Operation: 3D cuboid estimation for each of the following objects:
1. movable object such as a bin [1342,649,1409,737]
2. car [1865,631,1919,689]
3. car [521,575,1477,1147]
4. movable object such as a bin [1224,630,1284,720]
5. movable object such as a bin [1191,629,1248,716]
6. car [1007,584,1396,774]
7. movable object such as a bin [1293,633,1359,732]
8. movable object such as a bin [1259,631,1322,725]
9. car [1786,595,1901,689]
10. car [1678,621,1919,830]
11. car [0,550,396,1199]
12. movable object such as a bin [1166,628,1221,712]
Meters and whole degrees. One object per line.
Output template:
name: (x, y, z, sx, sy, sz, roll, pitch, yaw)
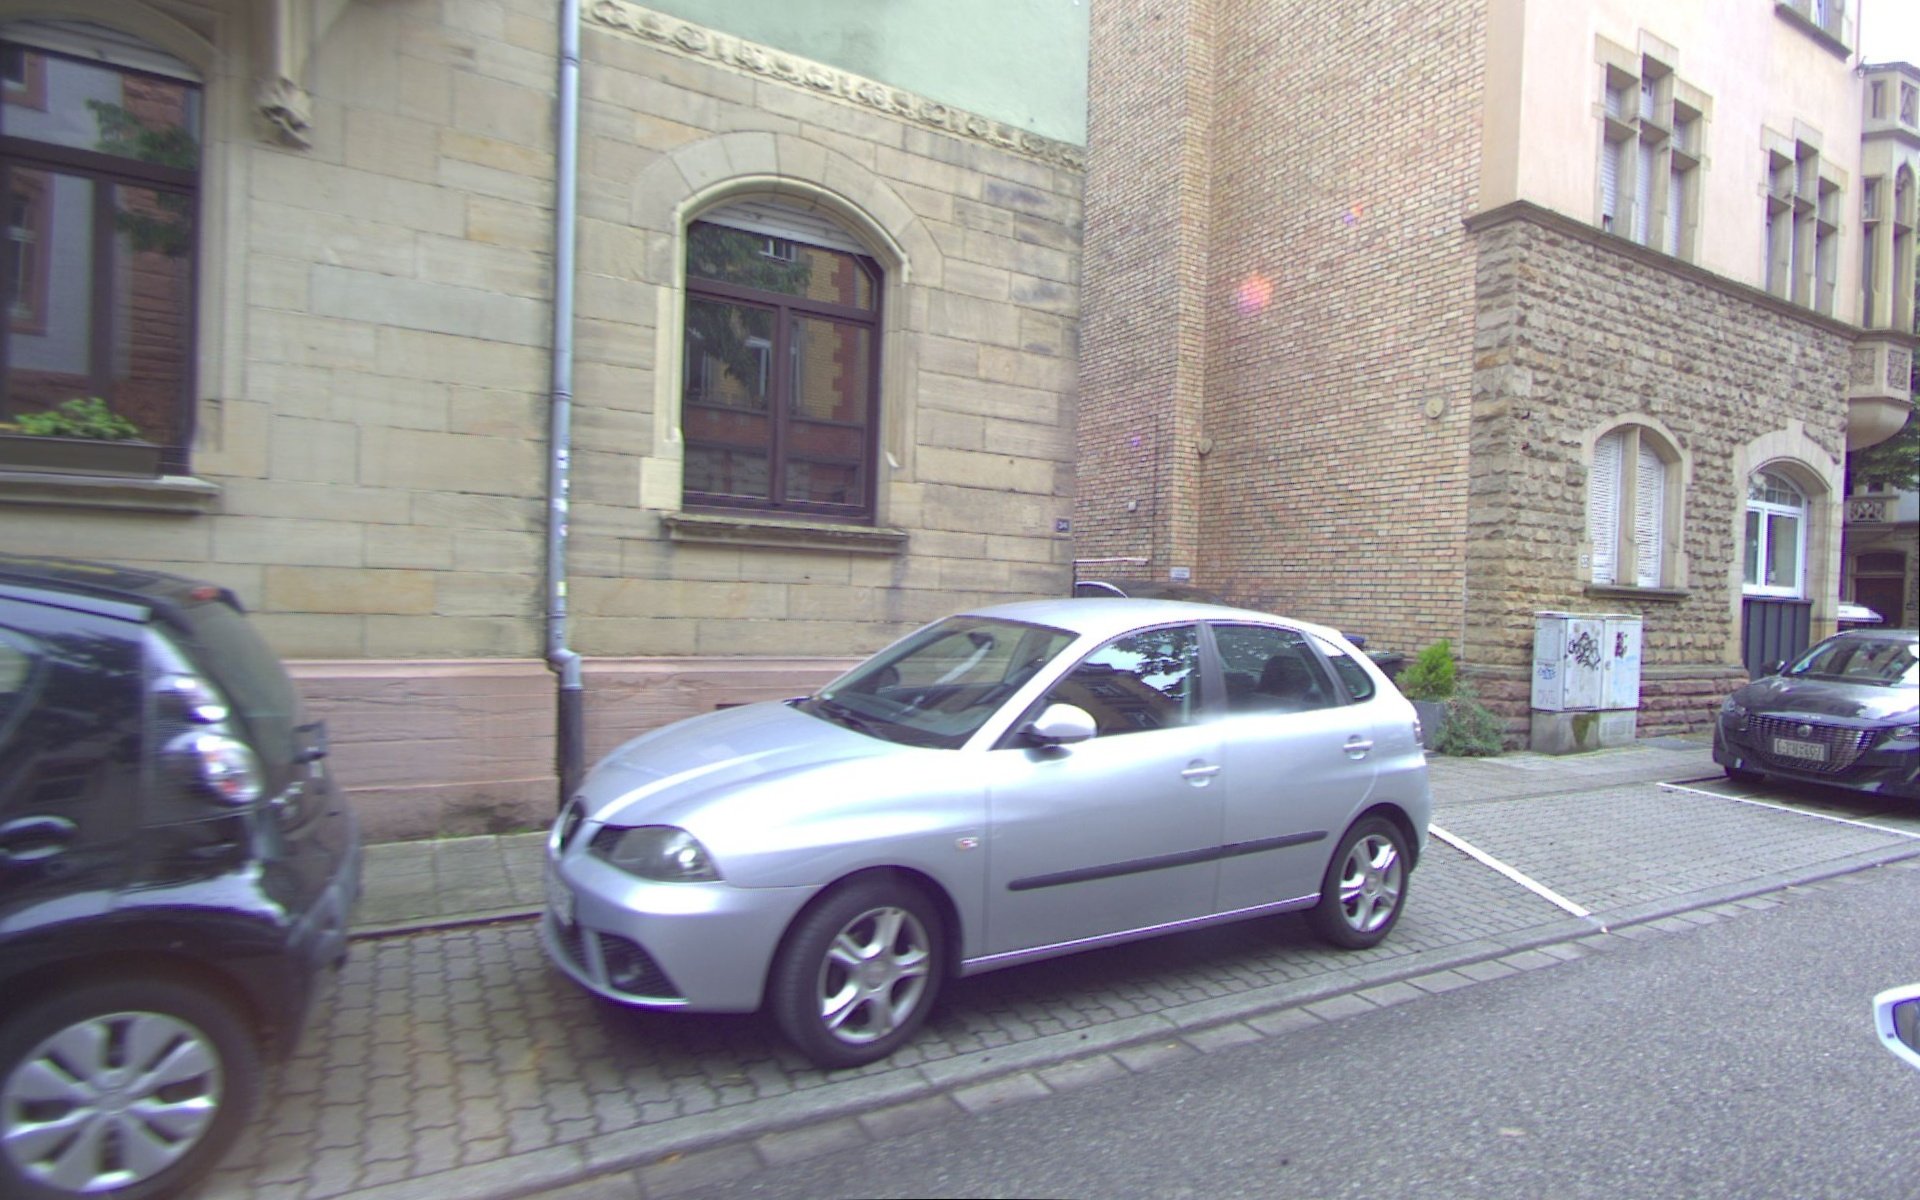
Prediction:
movable object such as a bin: (4.578, 1.010, 11.070, 0.545, 0.915, 0.413, 2, 0, -29)
car: (26.778, 1.638, 26.829, 1.624, 1.480, 3.564, 0, 0, -20)
car: (0.291, 0.699, 4.244, 3.766, 1.453, 1.581, 1, 2, -31)
movable object such as a bin: (3.654, 0.924, 12.479, 0.545, 1.077, 0.437, 2, 0, -29)
movable object such as a bin: (3.354, 0.929, 12.983, 0.545, 1.077, 0.437, 2, 0, -29)
car: (2.271, 0.658, 10.526, 1.746, 1.585, 3.970, 2, 0, -28)
movable object such as a bin: (4.176, 0.929, 11.471, 0.545, 1.077, 0.437, 2, 0, -29)
movable object such as a bin: (3.925, 0.917, 11.939, 0.545, 1.077, 0.437, 2, 0, -29)
car: (20.759, 0.940, 23.552, 1.808, 1.994, 3.937, 2, 0, 44)
car: (8.431, 0.982, 9.024, 3.835, 1.453, 1.719, 1, 2, -29)
car: (-3.232, 0.587, 2.223, 3.414, 1.453, 1.510, 1, 2, -29)
movable object such as a bin: (3.118, 0.921, 13.424, 0.545, 1.077, 0.437, 2, 0, -29)
